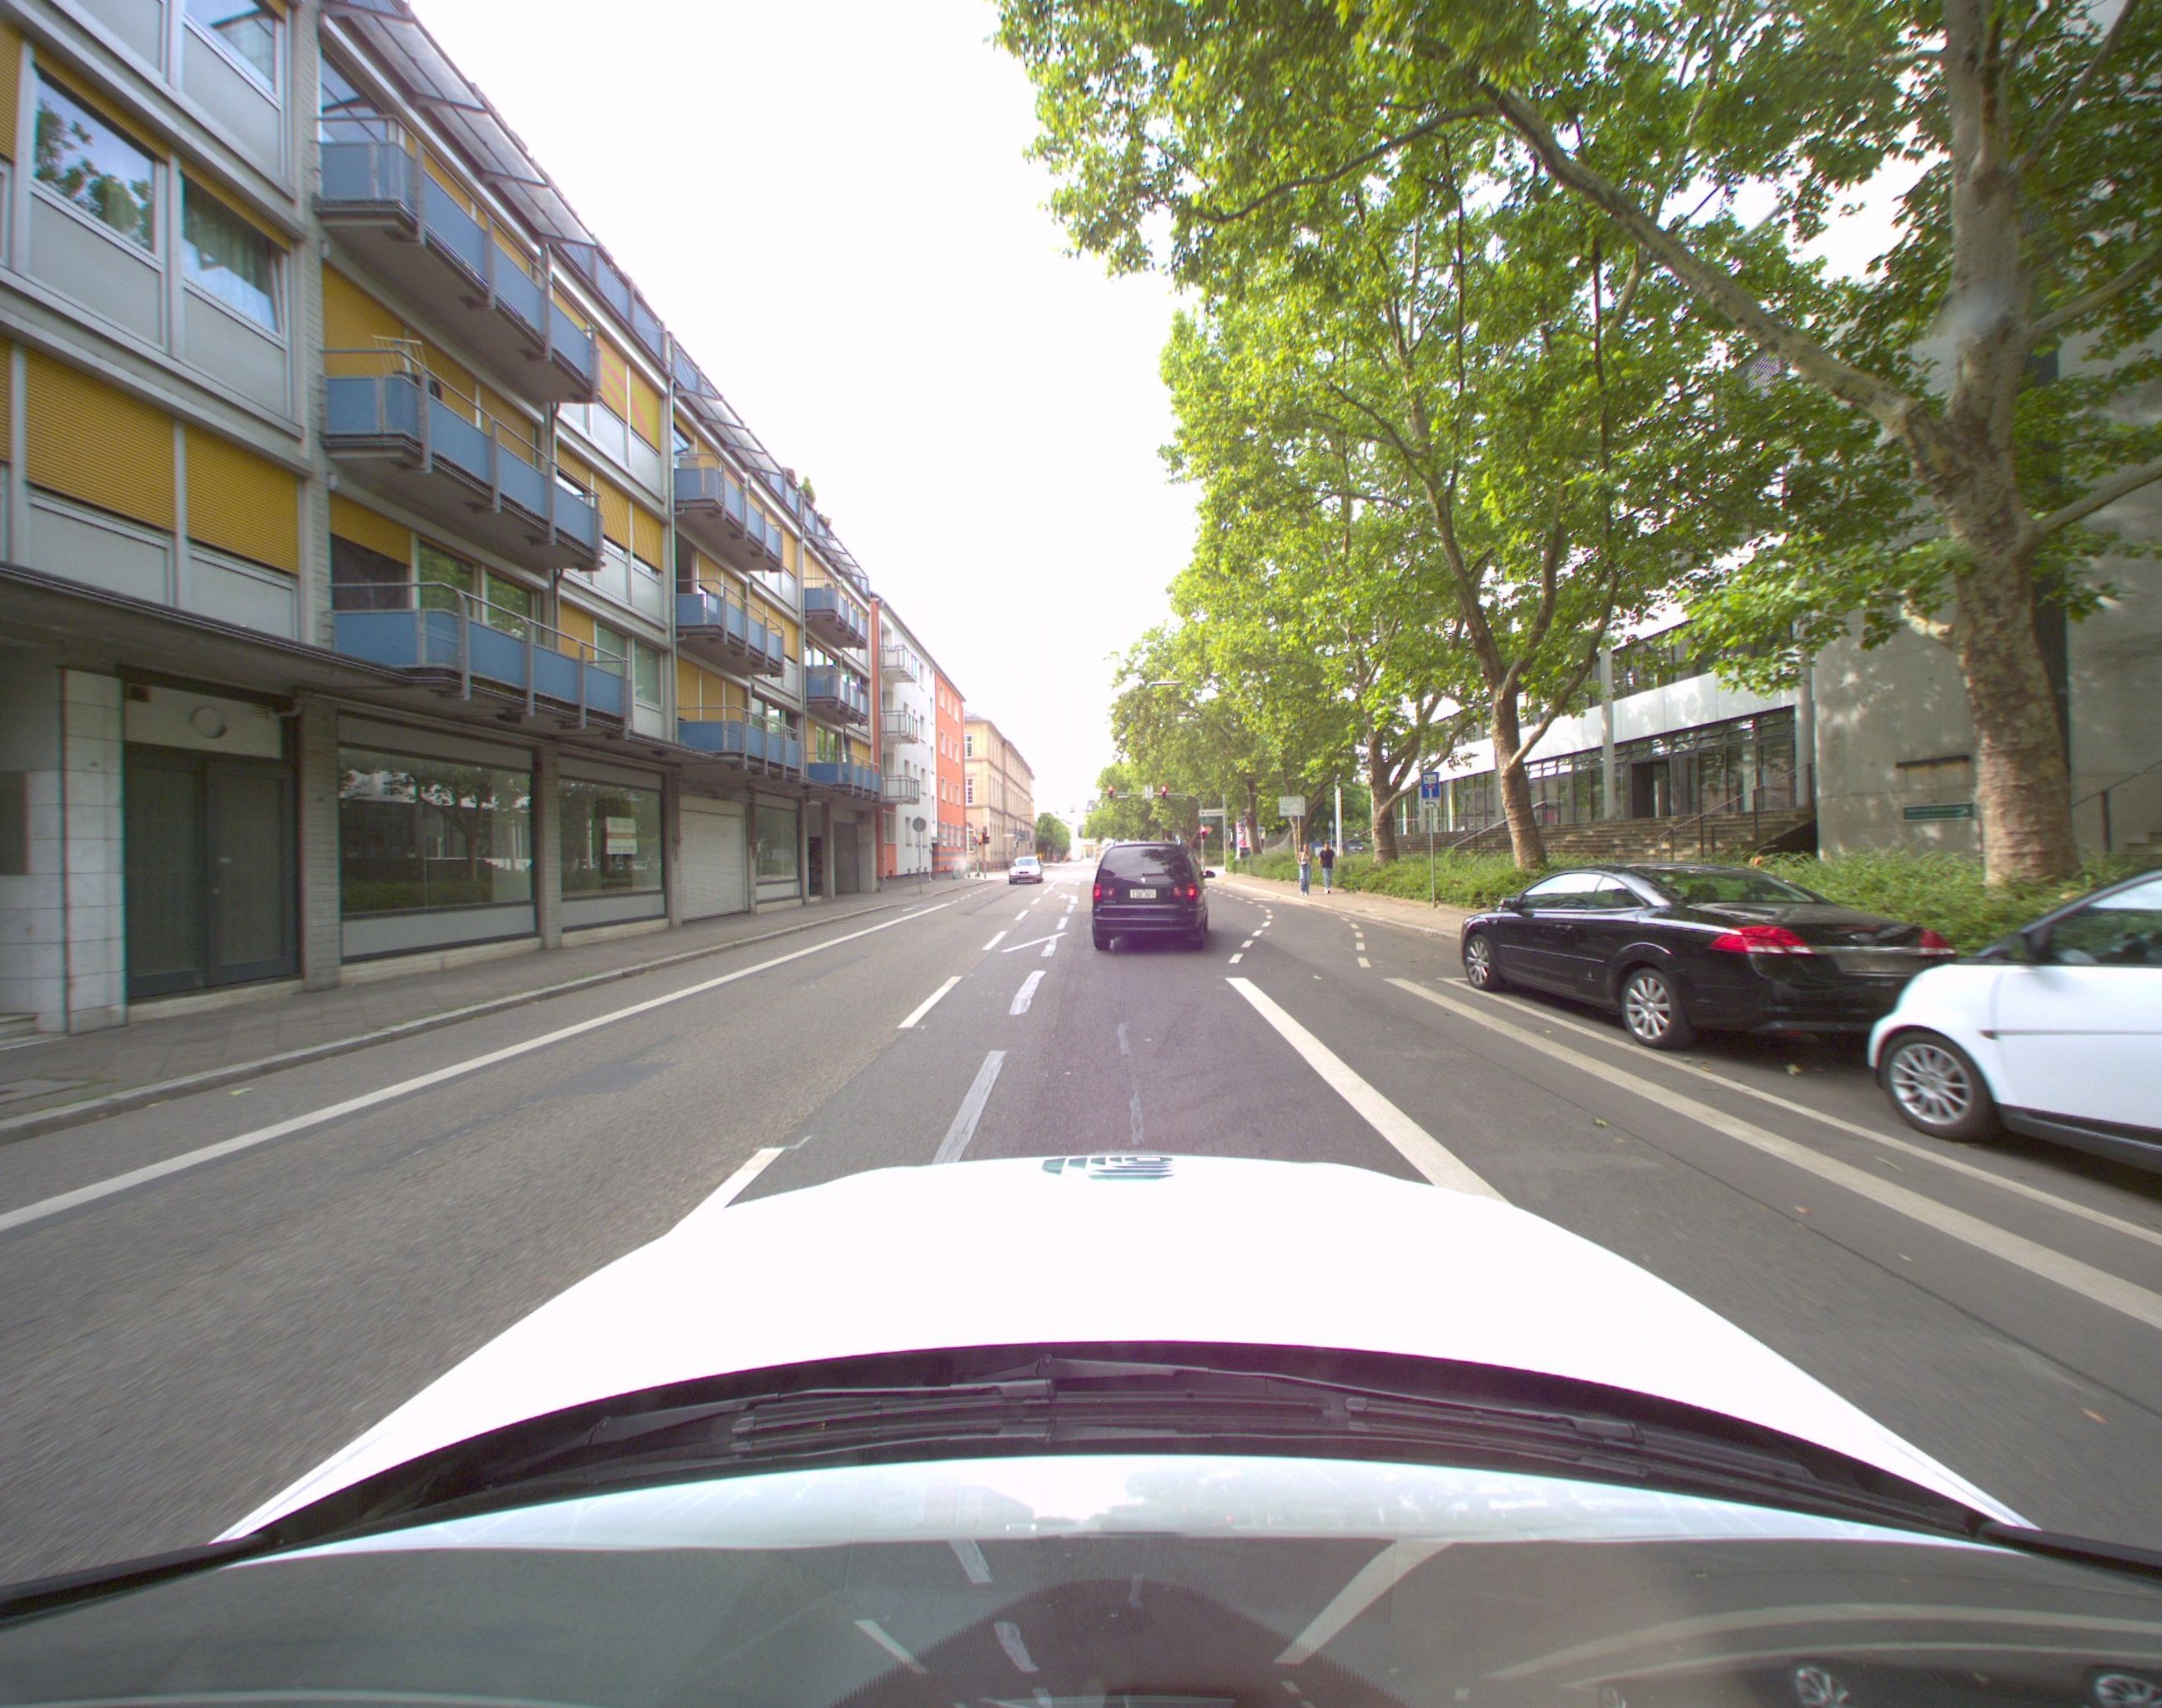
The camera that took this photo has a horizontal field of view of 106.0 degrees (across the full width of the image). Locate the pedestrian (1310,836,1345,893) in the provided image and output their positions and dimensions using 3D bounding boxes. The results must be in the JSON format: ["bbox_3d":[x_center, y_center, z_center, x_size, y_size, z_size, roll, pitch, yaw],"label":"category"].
[{"bbox_3d":[8.093,0.337,26.769,0.712,1.800,1.033,-3,-1,0],"label":"pedestrian"}]

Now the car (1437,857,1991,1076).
[{"bbox_3d":[5.166,0.753,7.600,1.693,1.425,4.420,0,0,-1],"label":"car"}]

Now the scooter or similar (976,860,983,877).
[{"bbox_3d":[-7.191,1.027,57.648,0.377,1.144,1.141,-1,-2,-2],"label":"scooter or similar"}]

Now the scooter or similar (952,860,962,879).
[{"bbox_3d":[-7.743,0.958,50.971,0.376,1.184,1.390,-1,-2,1],"label":"scooter or similar"}]

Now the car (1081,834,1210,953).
[{"bbox_3d":[1.306,0.582,14.385,1.863,1.745,4.585,-1,0,9],"label":"car"}]

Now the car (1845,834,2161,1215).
[{"bbox_3d":[5.157,0.692,3.441,1.529,1.543,2.602,0,0,4],"label":"car"}]

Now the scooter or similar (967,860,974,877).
[{"bbox_3d":[-7.767,1.034,57.189,0.377,1.147,1.141,-1,-2,-2],"label":"scooter or similar"}]

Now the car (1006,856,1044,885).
[{"bbox_3d":[-3.044,0.861,45.102,1.751,1.427,4.098,-3,0,0],"label":"car"}]

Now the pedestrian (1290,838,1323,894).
[{"bbox_3d":[7.404,0.400,26.817,0.708,1.783,1.033,-3,-1,0],"label":"pedestrian"}]
